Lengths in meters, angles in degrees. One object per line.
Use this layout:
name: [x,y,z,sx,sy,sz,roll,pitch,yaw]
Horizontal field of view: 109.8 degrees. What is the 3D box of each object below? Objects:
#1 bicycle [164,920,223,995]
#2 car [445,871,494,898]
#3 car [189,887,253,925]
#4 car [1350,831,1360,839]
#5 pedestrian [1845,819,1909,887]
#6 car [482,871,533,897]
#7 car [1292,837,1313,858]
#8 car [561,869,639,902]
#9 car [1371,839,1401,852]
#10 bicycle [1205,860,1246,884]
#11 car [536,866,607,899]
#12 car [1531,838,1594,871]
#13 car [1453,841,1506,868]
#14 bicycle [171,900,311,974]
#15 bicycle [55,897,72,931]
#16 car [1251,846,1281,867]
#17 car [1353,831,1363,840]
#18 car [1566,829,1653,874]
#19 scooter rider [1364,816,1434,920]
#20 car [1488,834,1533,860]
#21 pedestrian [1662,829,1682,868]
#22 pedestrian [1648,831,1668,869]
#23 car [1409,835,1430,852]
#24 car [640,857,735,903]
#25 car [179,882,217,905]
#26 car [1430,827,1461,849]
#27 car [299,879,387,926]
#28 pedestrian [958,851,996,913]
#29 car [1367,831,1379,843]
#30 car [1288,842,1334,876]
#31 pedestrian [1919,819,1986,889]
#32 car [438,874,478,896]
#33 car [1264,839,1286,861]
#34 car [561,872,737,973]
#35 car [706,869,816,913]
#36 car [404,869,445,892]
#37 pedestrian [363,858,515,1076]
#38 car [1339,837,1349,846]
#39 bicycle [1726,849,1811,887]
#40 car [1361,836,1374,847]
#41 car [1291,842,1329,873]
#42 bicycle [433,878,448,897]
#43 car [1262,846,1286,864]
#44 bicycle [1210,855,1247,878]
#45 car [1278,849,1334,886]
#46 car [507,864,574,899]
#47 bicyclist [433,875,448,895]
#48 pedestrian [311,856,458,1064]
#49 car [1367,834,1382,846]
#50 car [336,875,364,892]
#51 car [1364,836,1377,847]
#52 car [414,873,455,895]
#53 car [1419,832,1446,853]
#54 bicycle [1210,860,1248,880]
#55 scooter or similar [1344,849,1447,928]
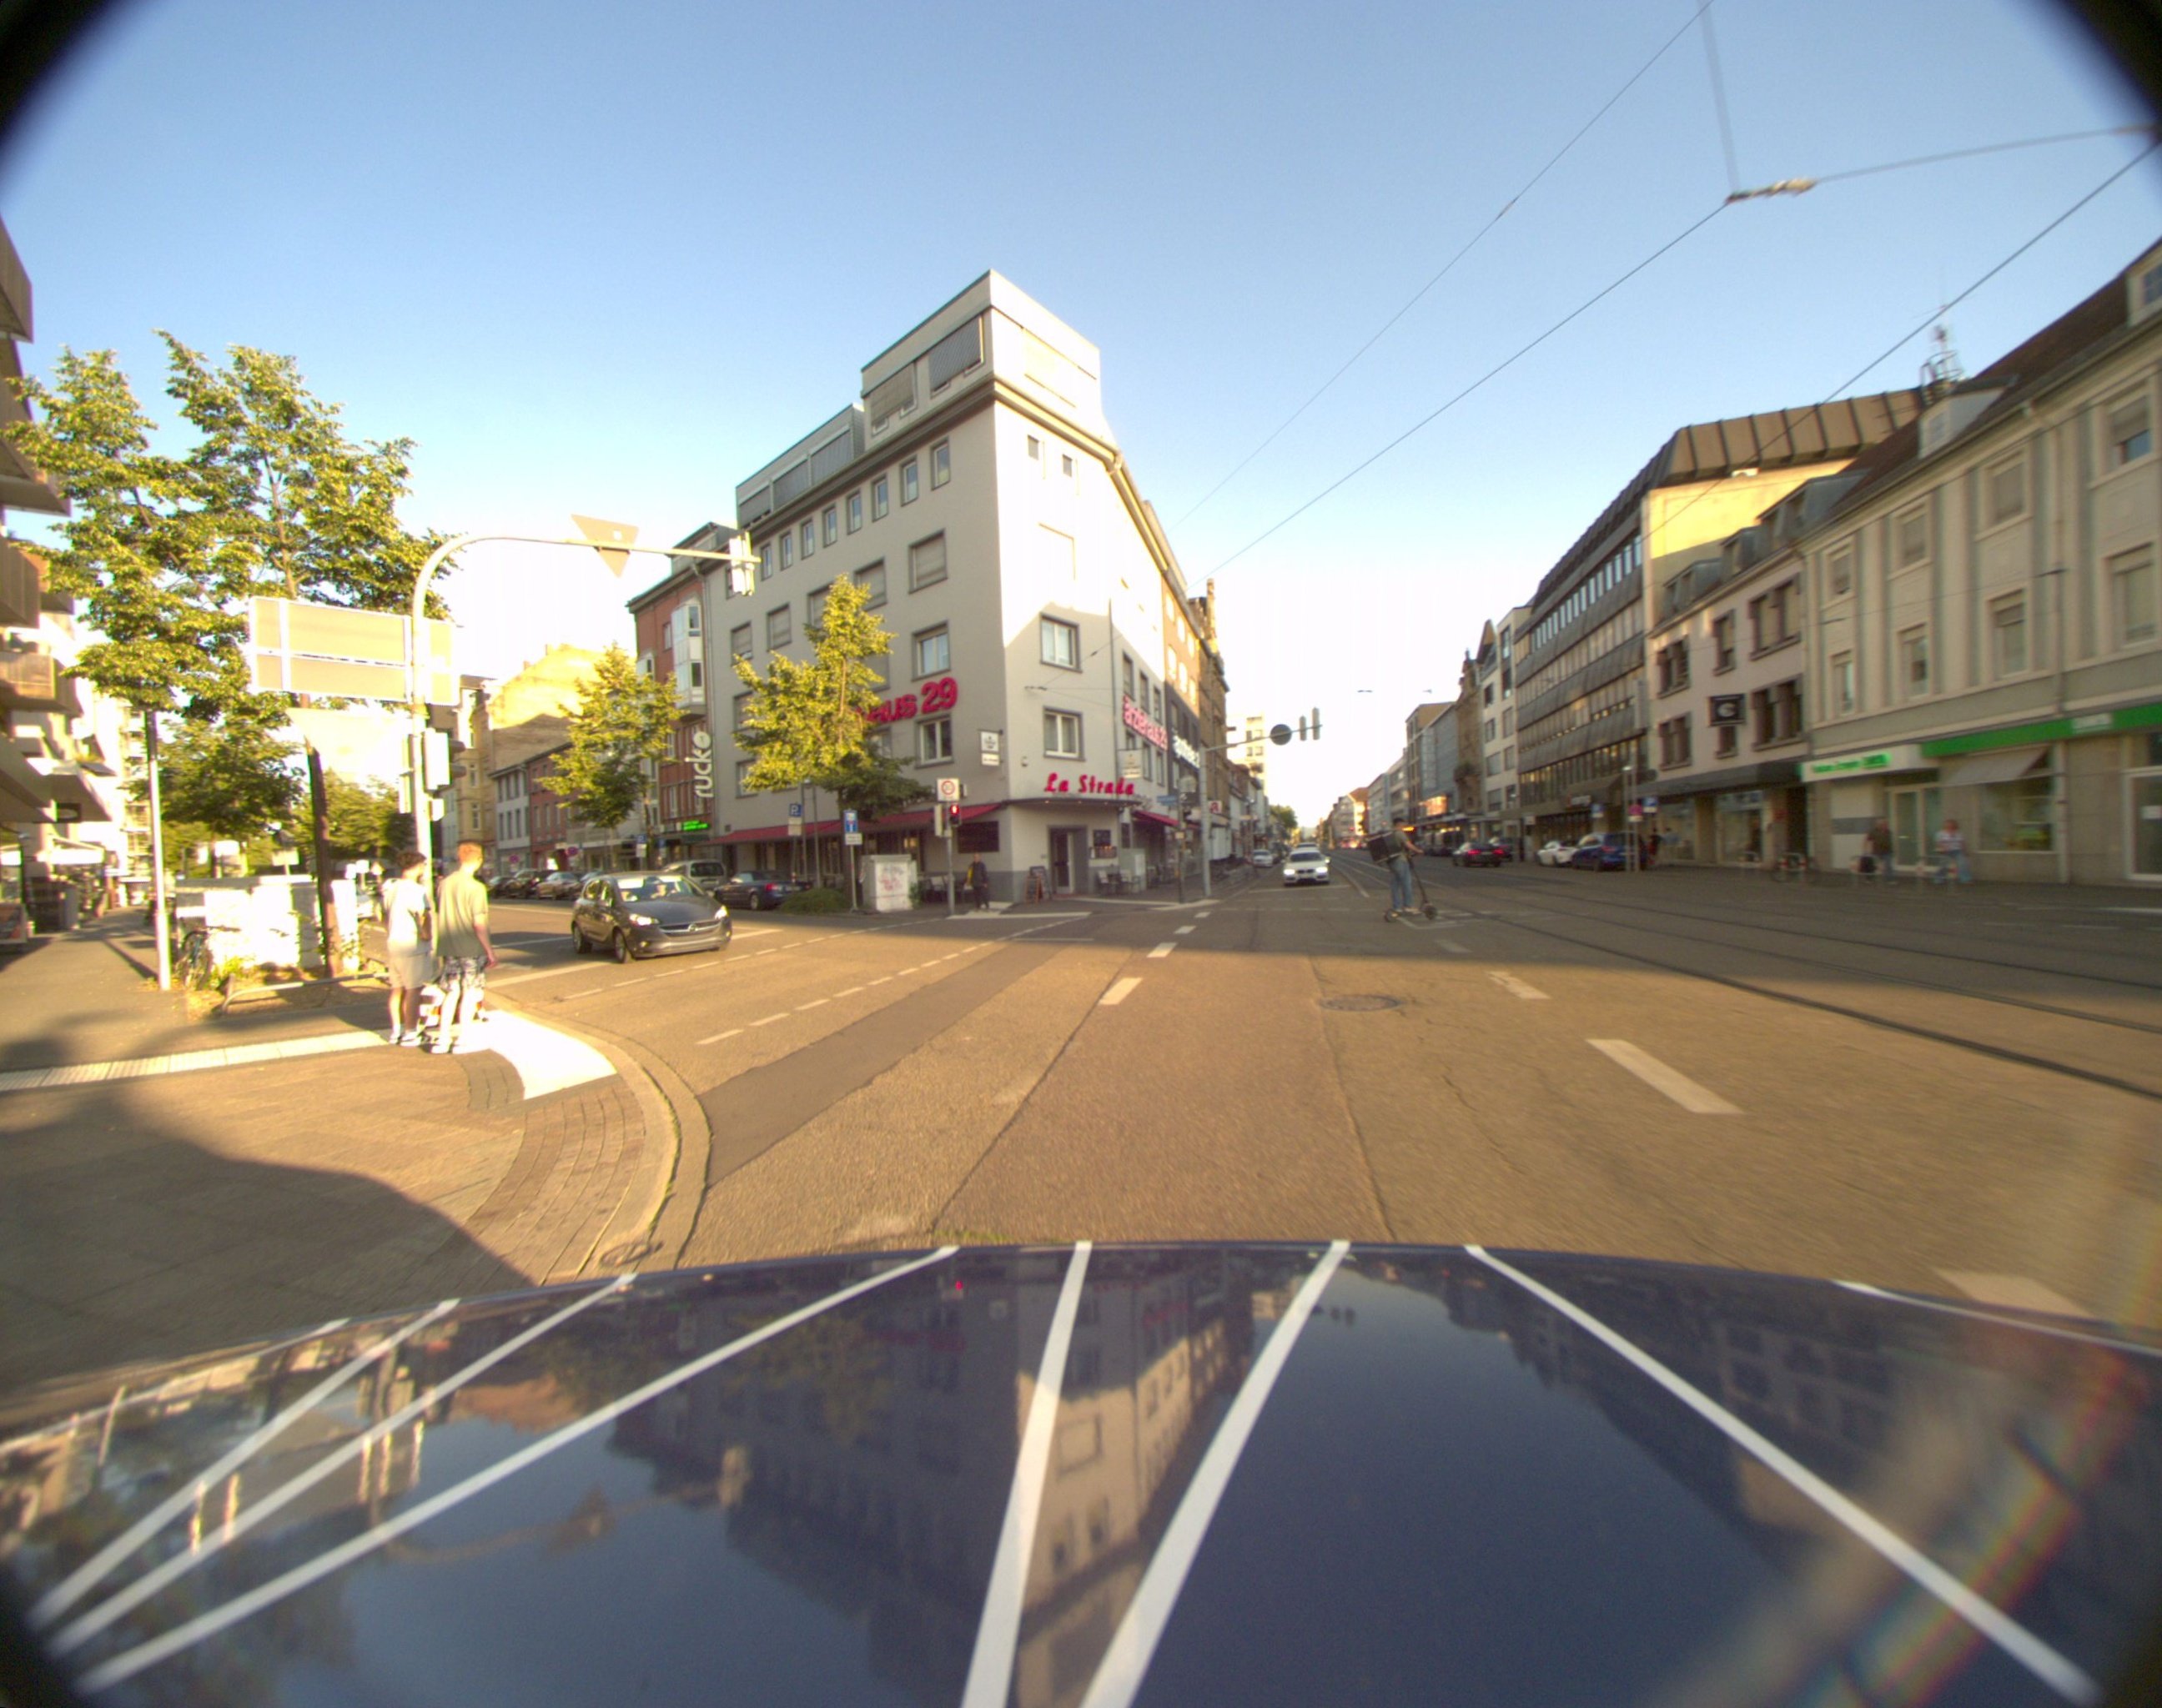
bicycle: [-13.210,1.508,11.298,1.666,1.004,0.405,-2,-1,35]
car: [-43.546,2.137,54.099,4.128,1.718,1.881,-1,2,40]
car: [-37.296,2.195,32.933,3.989,1.420,1.657,-2,2,40]
car: [70.625,-4.954,195.750,1.996,2.002,4.003,-2,2,14]
pedestrian: [21.172,-0.033,20.229,0.826,1.718,0.814,-3,1,16]
car: [-36.800,1.925,48.746,3.832,1.516,1.741,-2,0,40]
car: [23.313,-0.687,79.928,1.996,2.002,4.003,-2,2,15]
car: [-22.982,1.464,36.246,4.405,1.385,1.809,-1,2,39]
car: [43.677,-1.245,108.871,1.809,1.739,3.828,-4,2,-24]
bicycle: [6.661,0.819,35.052,1.826,1.025,0.444,-2,1,11]
car: [-27.034,1.493,40.229,4.930,1.590,1.901,-2,0,42]
car: [25.310,0.010,40.106,1.699,1.614,4.004,-3,0,16]
car: [22.853,0.029,43.758,1.893,1.471,4.548,-1,0,17]
bicycle: [-15.889,1.535,14.433,0.492,1.187,1.665,-2,1,28]
bicycle: [-36.670,2.148,27.375,2.007,1.123,0.332,-1,0,36]
car: [14.586,0.175,59.823,2.039,1.550,4.391,-2,0,16]
car: [69.465,-4.652,190.740,1.996,2.002,4.003,-2,2,14]
car: [23.673,-0.146,34.219,1.913,1.785,4.133,-4,1,16]
scooter rider: [5.752,0.249,13.792,0.788,1.796,0.813,-3,0,-9]
car: [28.968,-0.509,51.364,1.817,1.548,4.003,-2,2,17]
pedestrian: [26.513,-0.248,34.069,0.515,1.725,0.601,-2,3,17]
pedestrian: [25.894,-0.198,34.104,0.509,1.675,0.584,-2,2,16]
car: [42.848,-1.372,96.268,1.831,1.907,4.003,-2,2,16]
car: [-15.762,1.008,30.383,3.989,1.655,1.723,-1,3,37]
car: [-65.770,2.915,56.604,3.861,1.563,1.770,-2,0,41]
car: [34.897,-1.555,72.817,1.996,2.002,4.003,-2,2,17]
car: [-26.431,1.665,27.158,4.560,1.362,1.794,-1,3,41]
pedestrian: [-2.857,0.770,20.898,0.798,1.646,0.587,-2,1,13]
car: [58.057,-3.478,151.204,1.973,2.181,4.137,-2,2,16]
car: [11.854,0.232,39.051,1.996,1.471,4.004,-2,2,20]
pedestrian: [21.157,-0.003,18.462,0.826,1.631,0.815,-3,0,33]
car: [-47.279,2.326,57.652,3.506,1.581,1.690,-1,2,41]
car: [19.538,-0.404,76.421,2.039,2.105,4.391,-2,1,16]
car: [-7.703,1.086,13.399,3.832,1.445,1.591,-1,1,43]
car: [-11.121,1.215,26.309,4.299,1.345,1.657,-1,1,39]
car: [-54.075,2.150,62.574,4.025,1.667,1.886,-1,3,40]
pedestrian: [-5.489,0.936,6.525,0.748,1.763,0.587,-2,1,10]
car: [68.224,-3.189,196.917,1.996,2.002,4.003,-2,2,14]
bicycle: [19.936,0.423,22.069,1.739,1.052,0.499,-2,-2,25]
car: [59.606,-2.596,158.189,1.958,2.002,4.003,-2,2,14]
car: [13.203,0.160,43.708,1.996,1.630,4.005,-2,0,18]
bicycle: [-44.204,2.315,52.437,1.689,1.230,0.421,-1,3,38]
car: [18.114,0.053,71.293,2.039,1.550,4.391,-2,0,16]
bicycle: [7.350,0.620,37.840,1.759,1.065,0.444,-1,3,11]
car: [9.340,0.521,31.374,1.912,1.350,3.751,-3,0,20]
car: [-32.027,1.627,44.952,4.934,1.873,1.978,-2,0,40]
bicyclist: [-44.239,2.125,52.463,0.659,1.296,0.570,0,3,39]
pedestrian: [-6.292,0.915,6.885,0.748,1.763,0.640,-2,1,20]
car: [53.688,-2.554,138.961,1.996,2.002,4.003,-2,2,14]
car: [-80.100,3.191,83.200,3.861,1.762,1.792,-2,1,41]
car: [55.366,-2.428,145.424,1.972,2.002,4.003,-2,2,14]
car: [-50.714,2.348,59.612,3.767,1.505,1.795,0,3,40]
car: [36.698,-1.226,79.346,1.996,2.048,4.003,-2,2,18]
bicycle: [7.099,0.776,36.465,1.759,0.944,0.444,-1,3,11]
scooter or similar: [5.709,0.615,13.801,1.669,1.343,0.545,-2,1,-9]
